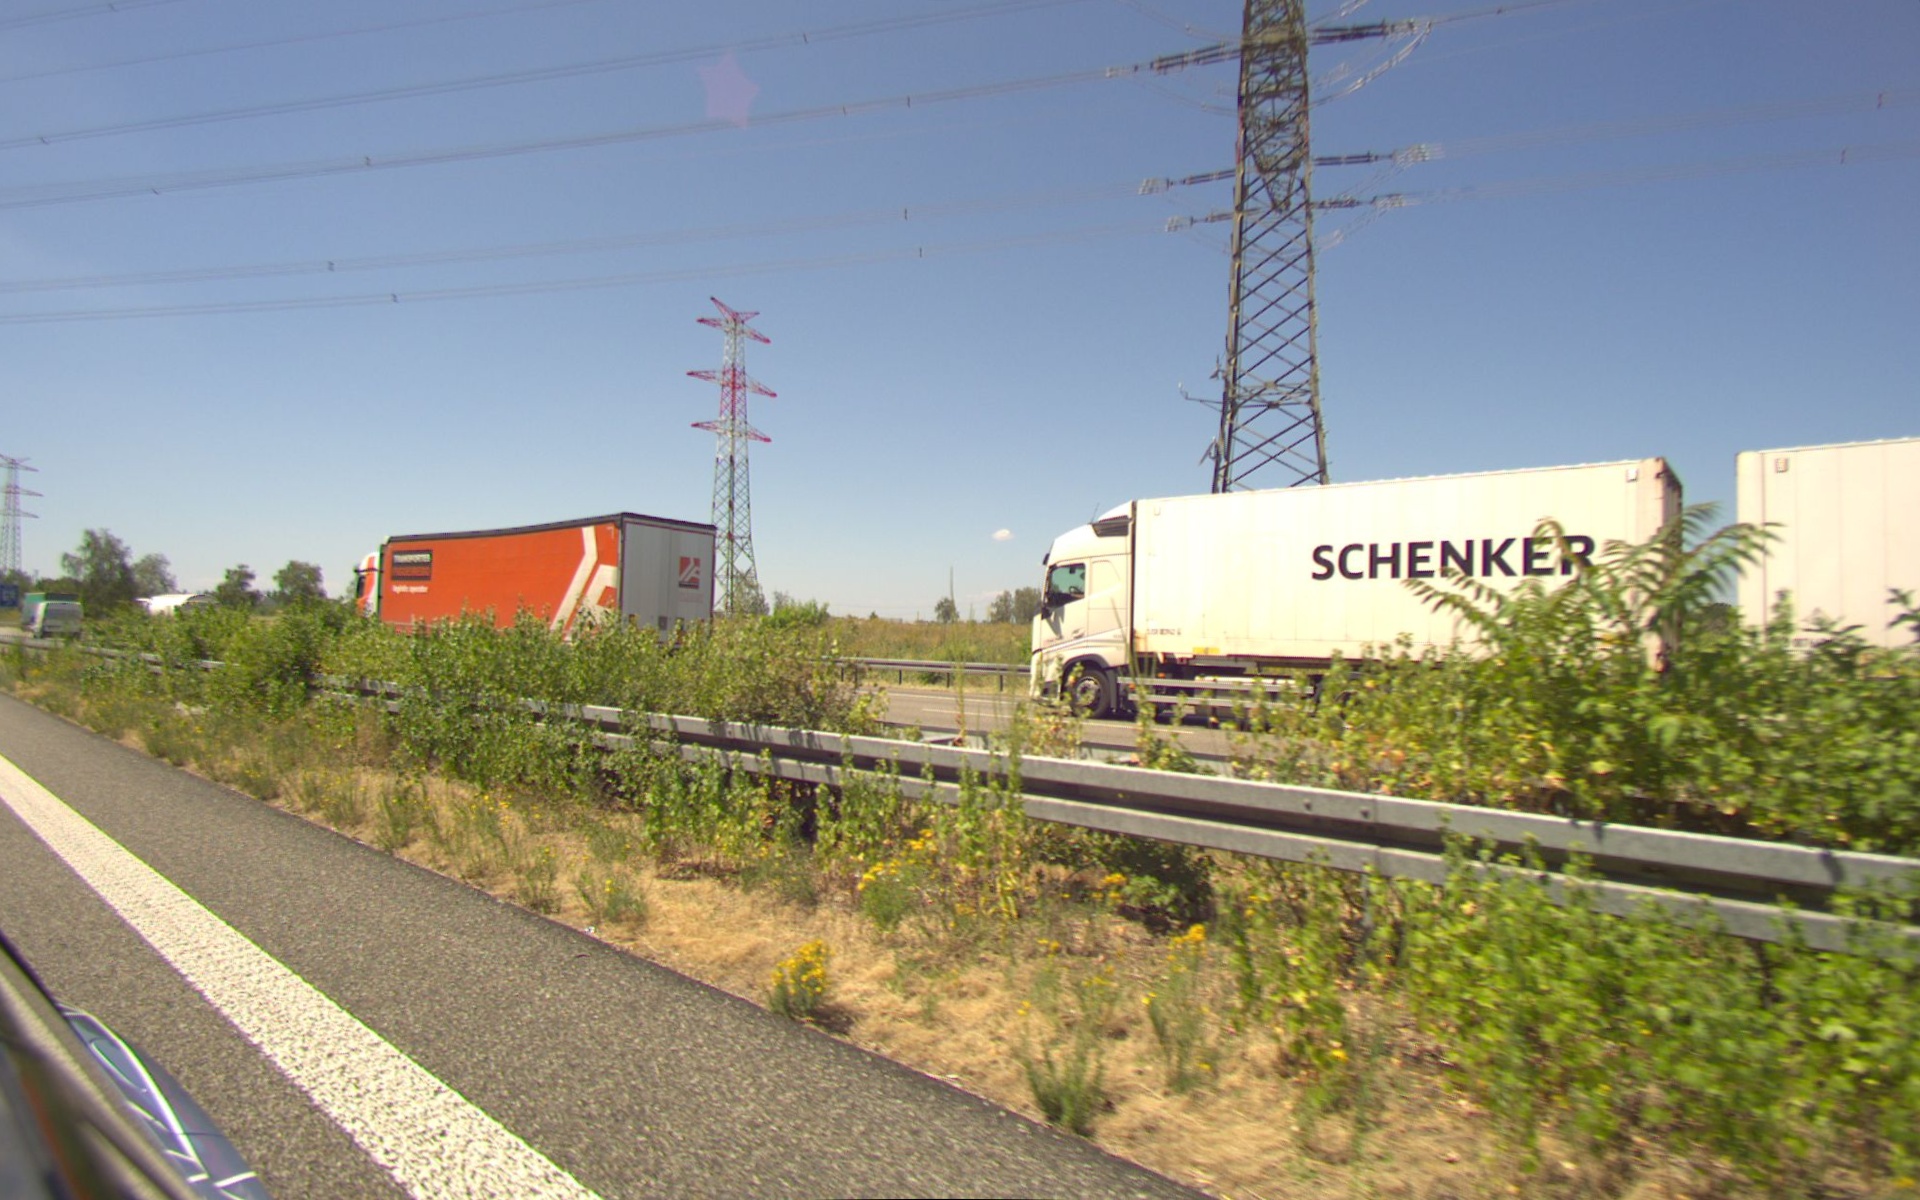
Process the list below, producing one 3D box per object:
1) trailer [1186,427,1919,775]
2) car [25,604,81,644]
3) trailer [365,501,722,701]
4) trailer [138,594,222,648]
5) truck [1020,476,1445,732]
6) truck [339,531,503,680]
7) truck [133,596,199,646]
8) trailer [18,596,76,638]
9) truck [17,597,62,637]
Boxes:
[{"bbox_3d":[10.757,0.061,12.936,15.969,3.851,2.824,-1,-2,41],"label":"trailer"},{"bbox_3d":[-58.240,1.568,64.937,6.028,2.456,1.972,-1,-3,42],"label":"car"},{"bbox_3d":[-11.877,0.151,27.320,14.319,4.270,2.564,-1,-3,40],"label":"trailer"},{"bbox_3d":[-52.862,1.467,68.456,11.560,3.398,2.390,-1,-3,42],"label":"trailer"},{"bbox_3d":[4.664,0.153,18.212,6.844,3.780,2.806,-1,-3,40],"label":"truck"},{"bbox_3d":[-17.008,0.227,31.781,5.907,4.243,2.572,-1,-3,42],"label":"truck"},{"bbox_3d":[-55.951,1.495,71.290,6.208,3.404,2.457,-1,-3,41],"label":"truck"},{"bbox_3d":[-94.730,1.762,104.879,13.907,4.116,2.642,-1,-2,41],"label":"trailer"},{"bbox_3d":[-98.616,1.856,108.397,6.576,4.166,2.671,-1,-2,41],"label":"truck"}]
